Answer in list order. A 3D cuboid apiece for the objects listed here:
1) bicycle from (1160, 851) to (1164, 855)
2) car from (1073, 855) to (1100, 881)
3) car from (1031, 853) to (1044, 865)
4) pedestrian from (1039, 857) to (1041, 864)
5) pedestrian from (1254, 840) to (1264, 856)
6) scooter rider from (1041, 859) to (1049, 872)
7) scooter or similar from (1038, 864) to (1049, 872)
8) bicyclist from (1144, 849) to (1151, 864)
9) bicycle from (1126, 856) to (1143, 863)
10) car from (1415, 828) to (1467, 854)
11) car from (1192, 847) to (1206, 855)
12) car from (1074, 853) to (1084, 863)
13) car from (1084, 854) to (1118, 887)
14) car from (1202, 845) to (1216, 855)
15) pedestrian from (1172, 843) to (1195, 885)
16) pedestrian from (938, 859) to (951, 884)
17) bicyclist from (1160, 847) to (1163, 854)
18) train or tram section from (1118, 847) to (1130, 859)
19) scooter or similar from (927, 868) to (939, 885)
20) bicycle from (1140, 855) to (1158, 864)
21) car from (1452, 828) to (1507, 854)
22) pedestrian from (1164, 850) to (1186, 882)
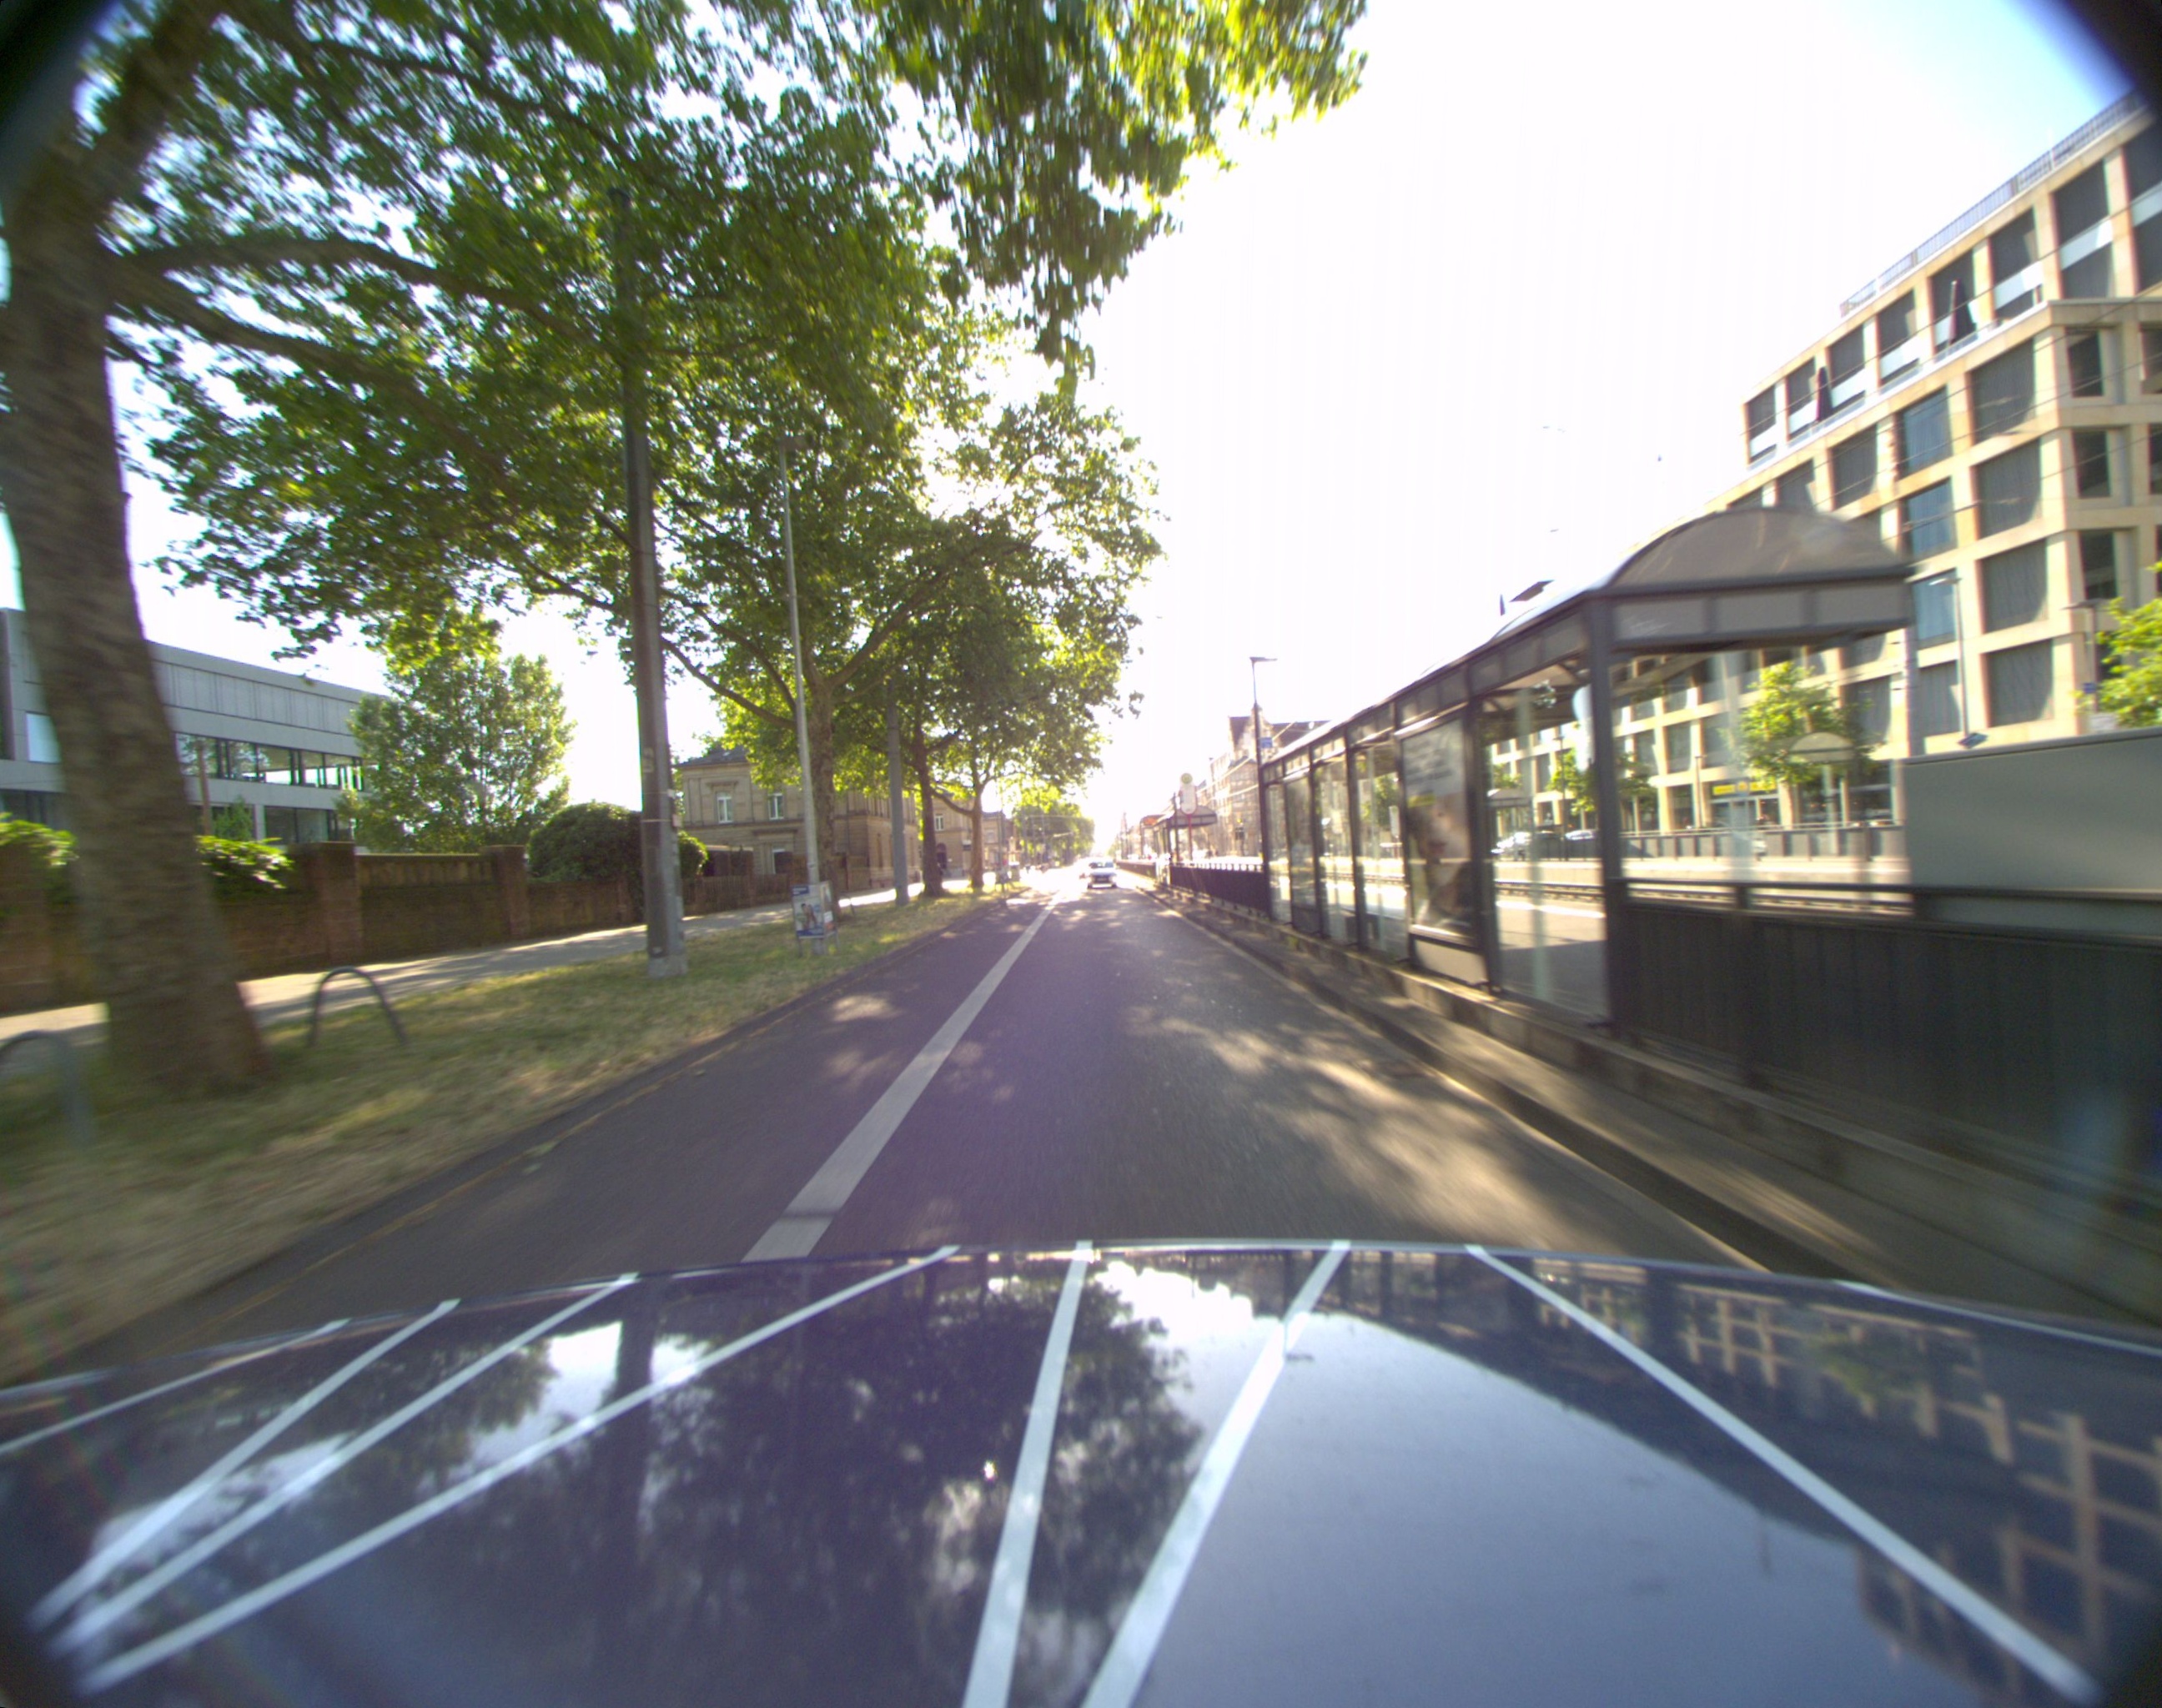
[{"bbox_3d":[20.939,-0.282,196.978,0.607,0.996,2.068,-4,0,-2],"label":"bicycle"},{"bbox_3d":[0.360,0.927,52.110,1.649,1.555,3.666,-5,0,0],"label":"car"},{"bbox_3d":[-8.029,0.836,141.145,1.833,2.034,4.000,-4,1,4],"label":"car"},{"bbox_3d":[-9.427,1.571,176.238,0.364,1.635,0.390,-4,1,1],"label":"pedestrian"},{"bbox_3d":[18.585,-0.625,79.326,0.795,1.635,0.933,-4,0,2],"label":"pedestrian"},{"bbox_3d":[-3.874,1.209,81.588,0.703,1.388,0.600,-4,1,1],"label":"scooter rider"},{"bbox_3d":[-4.021,1.539,81.505,1.023,0.807,0.265,-4,1,1],"label":"scooter or similar"},{"bbox_3d":[7.346,0.300,83.853,0.629,1.609,0.684,-4,1,9],"label":"bicyclist"},{"bbox_3d":[5.869,0.563,82.880,1.724,0.605,0.512,-4,1,9],"label":"bicycle"},{"bbox_3d":[26.155,-0.910,55.357,1.923,1.759,4.000,-4,0,1],"label":"car"},{"bbox_3d":[23.209,-0.558,149.884,1.741,1.516,3.998,-5,0,-4],"label":"car"},{"bbox_3d":[-0.384,0.767,146.595,1.833,1.645,4.000,-4,1,1],"label":"car"},{"bbox_3d":[1.043,0.868,40.712,1.649,1.555,3.666,-4,0,0],"label":"car"},{"bbox_3d":[23.343,-0.757,138.920,1.780,1.660,3.999,-4,0,-1],"label":"car"},{"bbox_3d":[3.807,0.358,28.246,0.747,1.500,0.666,-3,1,3],"label":"pedestrian"},{"bbox_3d":[-9.497,1.218,52.927,0.771,1.734,0.796,-2,1,-6],"label":"pedestrian"},{"bbox_3d":[20.894,-0.909,196.986,0.683,1.609,0.630,-4,1,-2],"label":"bicyclist"},{"bbox_3d":[14.611,-0.278,256.778,2.782,3.378,19.475,-4,0,0],"label":"train or tram section"},{"bbox_3d":[-10.225,1.559,52.570,0.720,1.149,0.759,-2,1,-6],"label":"scooter or similar"},{"bbox_3d":[7.549,0.608,83.880,1.888,0.873,0.608,-4,0,9],"label":"bicycle"},{"bbox_3d":[25.955,-0.802,49.631,1.649,1.552,3.650,-4,0,1],"label":"car"},{"bbox_3d":[3.832,0.499,31.037,0.743,1.266,0.524,-4,1,0],"label":"pedestrian"}]
